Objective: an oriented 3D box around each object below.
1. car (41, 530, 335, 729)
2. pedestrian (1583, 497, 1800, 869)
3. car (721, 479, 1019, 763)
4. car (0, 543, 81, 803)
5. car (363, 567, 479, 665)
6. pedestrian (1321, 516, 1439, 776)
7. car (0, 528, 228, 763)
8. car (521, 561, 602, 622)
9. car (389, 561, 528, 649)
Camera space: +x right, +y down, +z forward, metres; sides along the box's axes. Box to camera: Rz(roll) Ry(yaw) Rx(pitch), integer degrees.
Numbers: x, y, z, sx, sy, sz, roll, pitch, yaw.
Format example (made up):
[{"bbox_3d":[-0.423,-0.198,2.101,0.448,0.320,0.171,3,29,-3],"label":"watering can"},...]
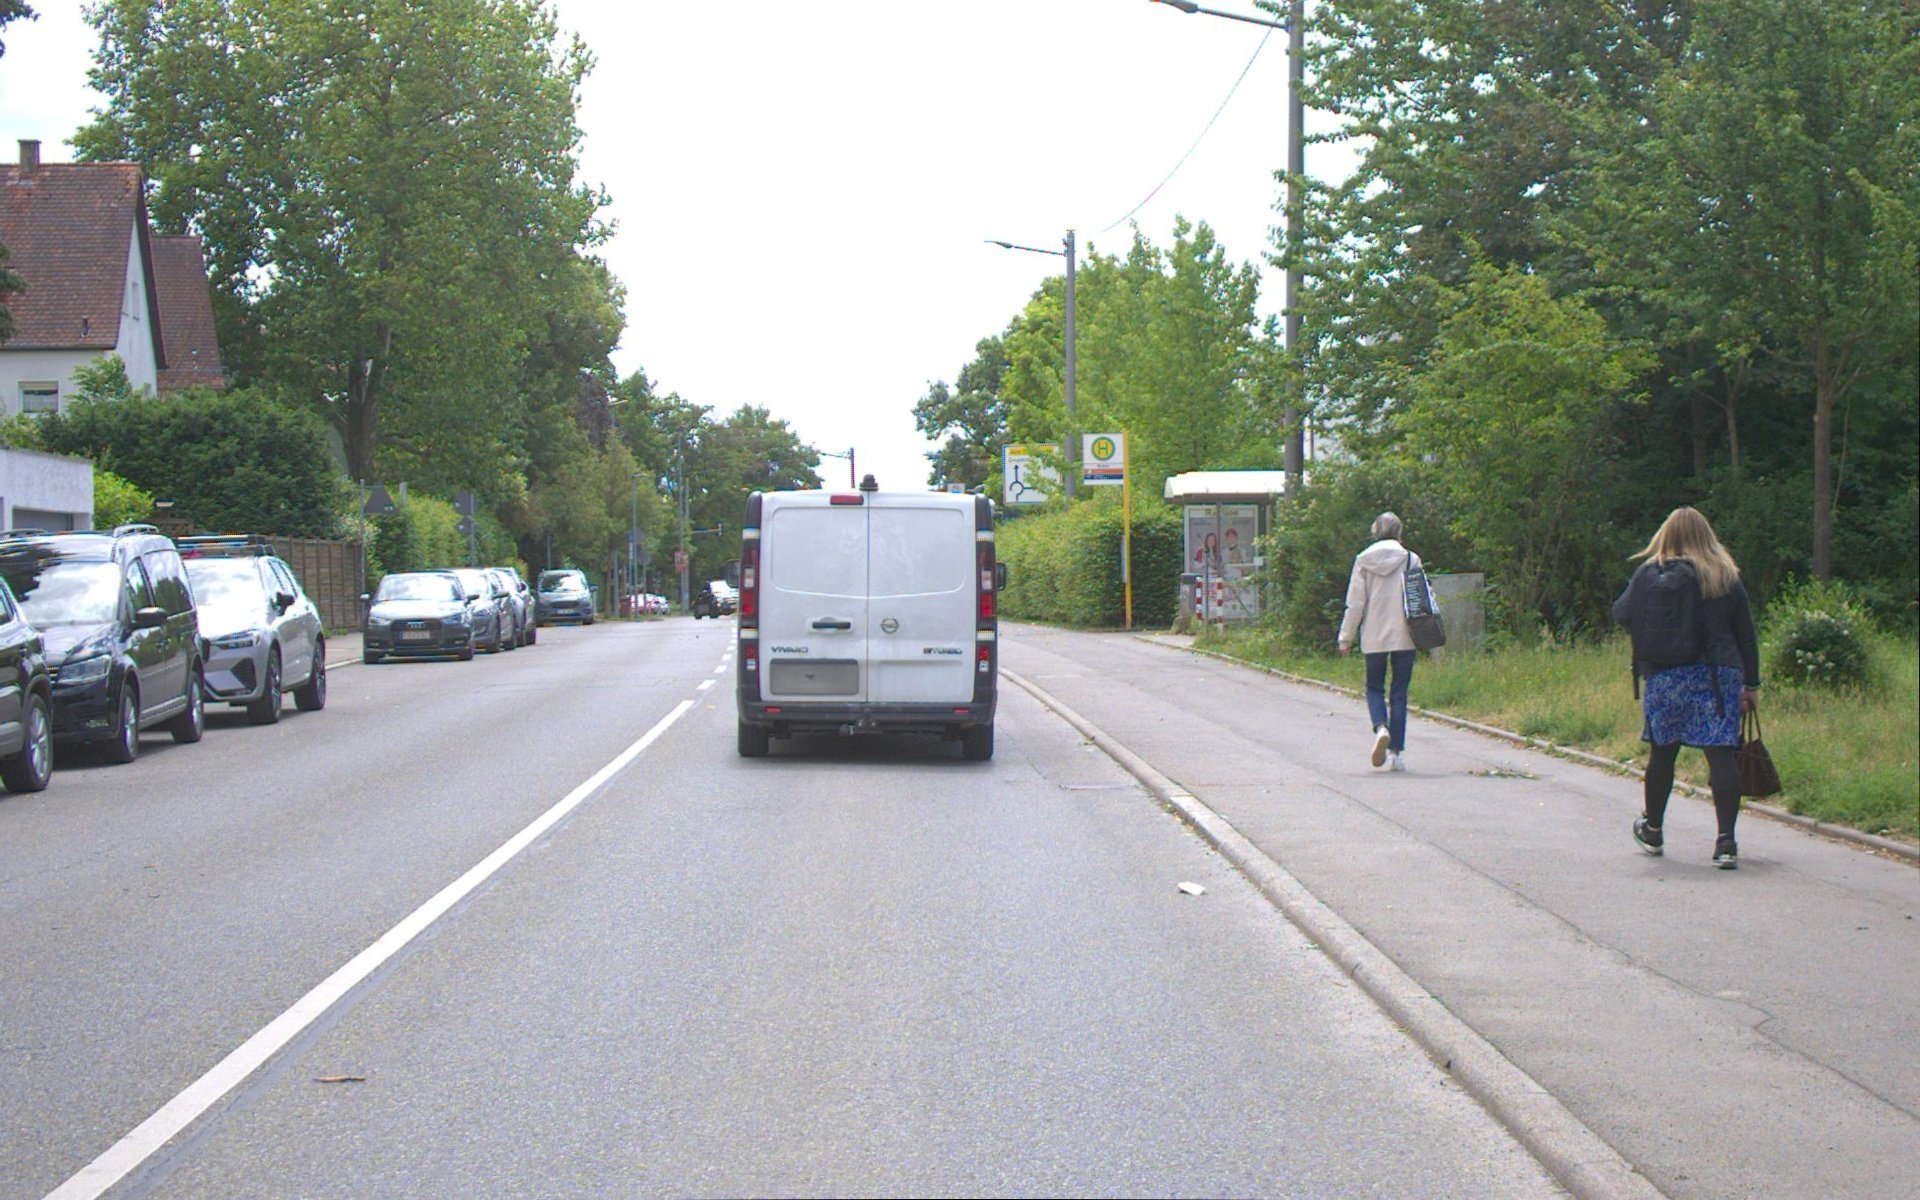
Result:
[{"bbox_3d":[-7.527,0.232,33.996,1.985,1.813,4.708,-1,1,-2],"label":"car"},{"bbox_3d":[3.351,0.368,15.809,0.840,1.653,0.766,1,0,3],"label":"pedestrian"},{"bbox_3d":[-0.760,0.120,26.275,2.034,1.939,4.994,1,1,-3],"label":"car"},{"bbox_3d":[-7.030,0.511,22.134,1.626,1.672,4.584,-3,1,-2],"label":"car"},{"bbox_3d":[-8.602,0.226,55.050,1.651,1.422,3.907,-2,1,-7],"label":"car"},{"bbox_3d":[2.725,0.290,22.360,0.686,1.653,0.690,1,0,3],"label":"pedestrian"},{"bbox_3d":[-7.448,0.306,28.154,2.066,1.748,4.884,1,1,-3],"label":"car"},{"bbox_3d":[-12.114,-0.272,104.216,2.131,1.766,4.466,1,1,-10],"label":"car"},{"bbox_3d":[-8.716,0.075,60.075,1.867,1.454,4.489,-1,0,-1],"label":"car"}]
